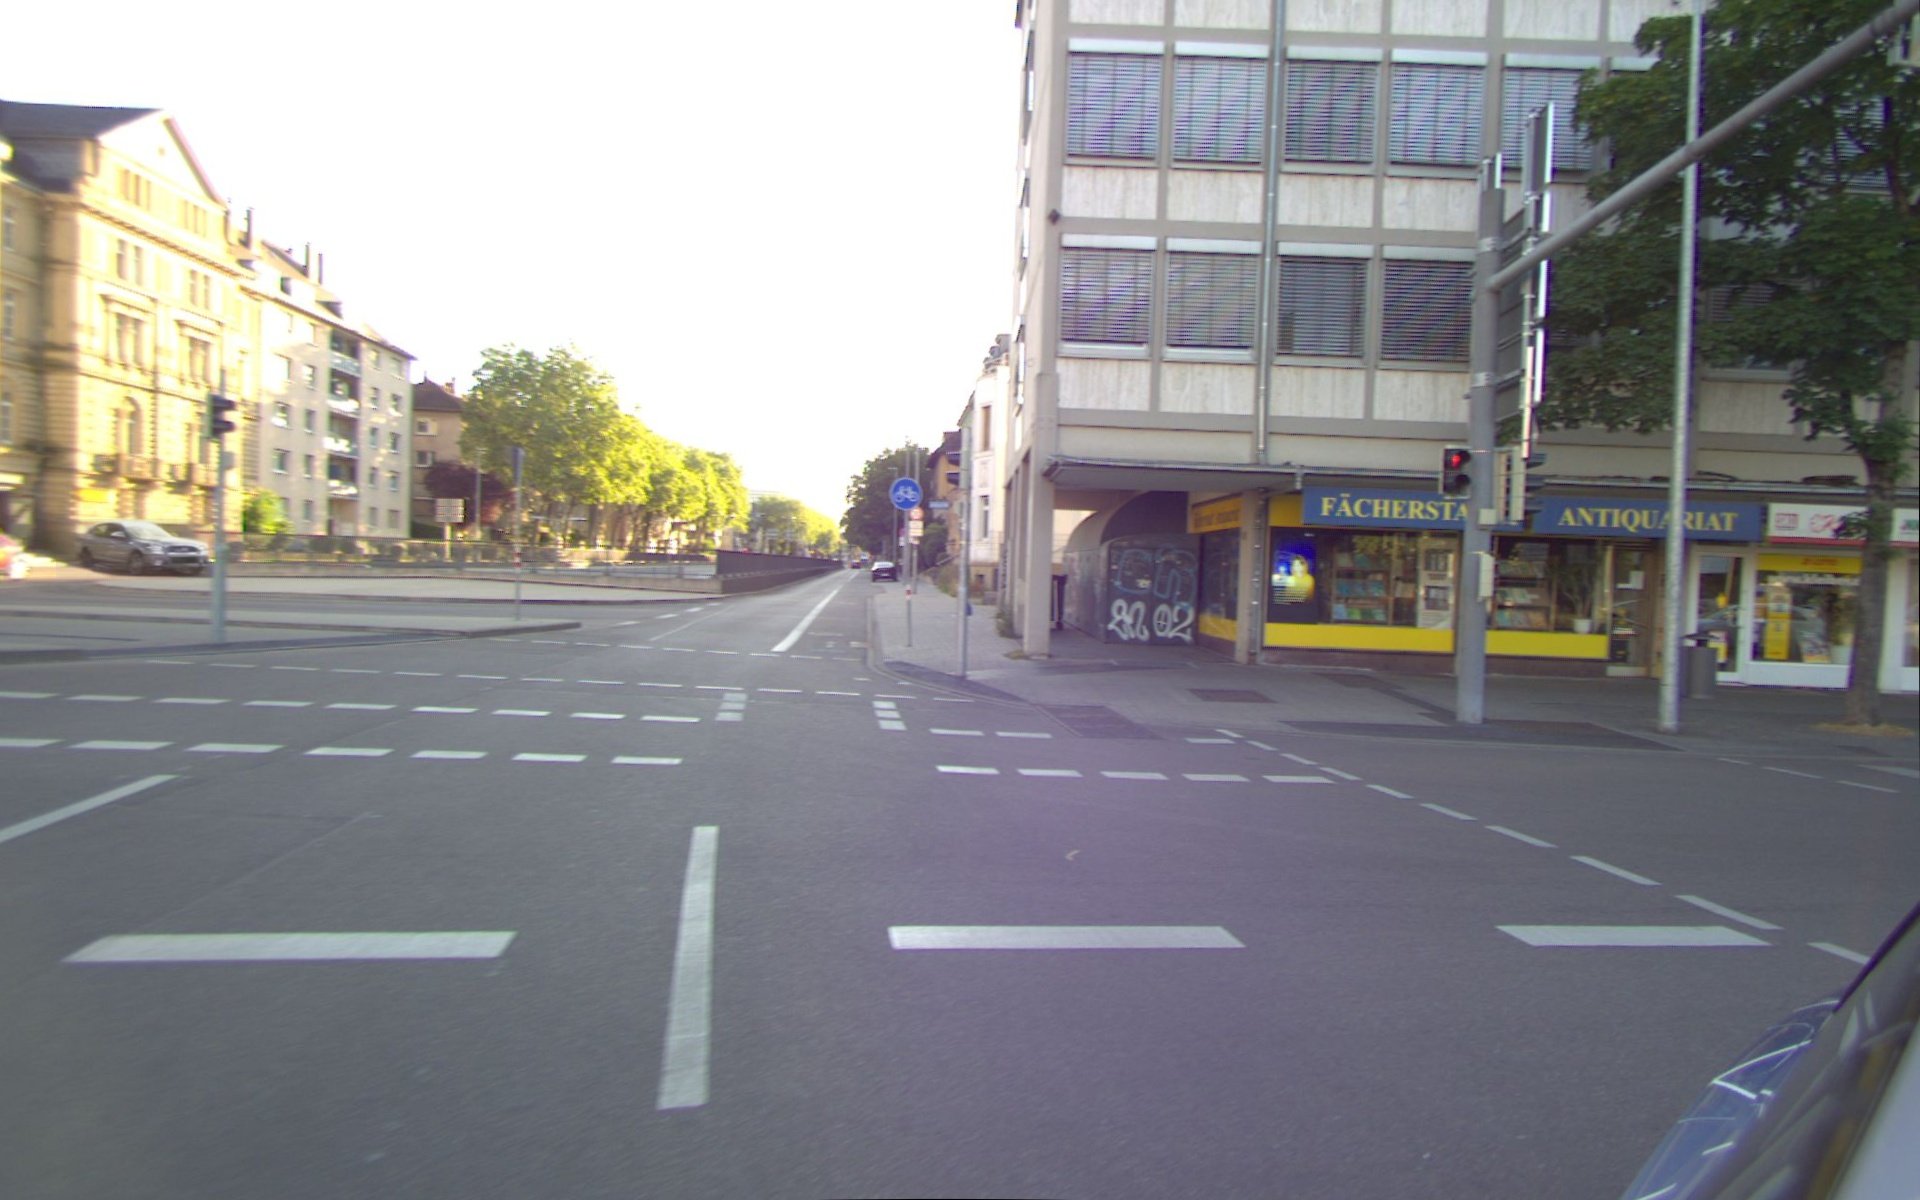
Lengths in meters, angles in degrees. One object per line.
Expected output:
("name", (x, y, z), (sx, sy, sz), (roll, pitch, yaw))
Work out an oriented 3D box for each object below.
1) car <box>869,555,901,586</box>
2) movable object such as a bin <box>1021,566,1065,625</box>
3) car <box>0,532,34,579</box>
("car", (-5.290, -2.102, 71.691), (1.962, 2.038, 4.264), (2, 2, -1))
("movable object such as a bin", (1.984, -0.129, 24.342), (0.942, 1.343, 1.414), (2, 2, 3))
("car", (-30.094, -1.351, 30.221), (1.616, 1.439, 3.903), (2, 2, -7))
